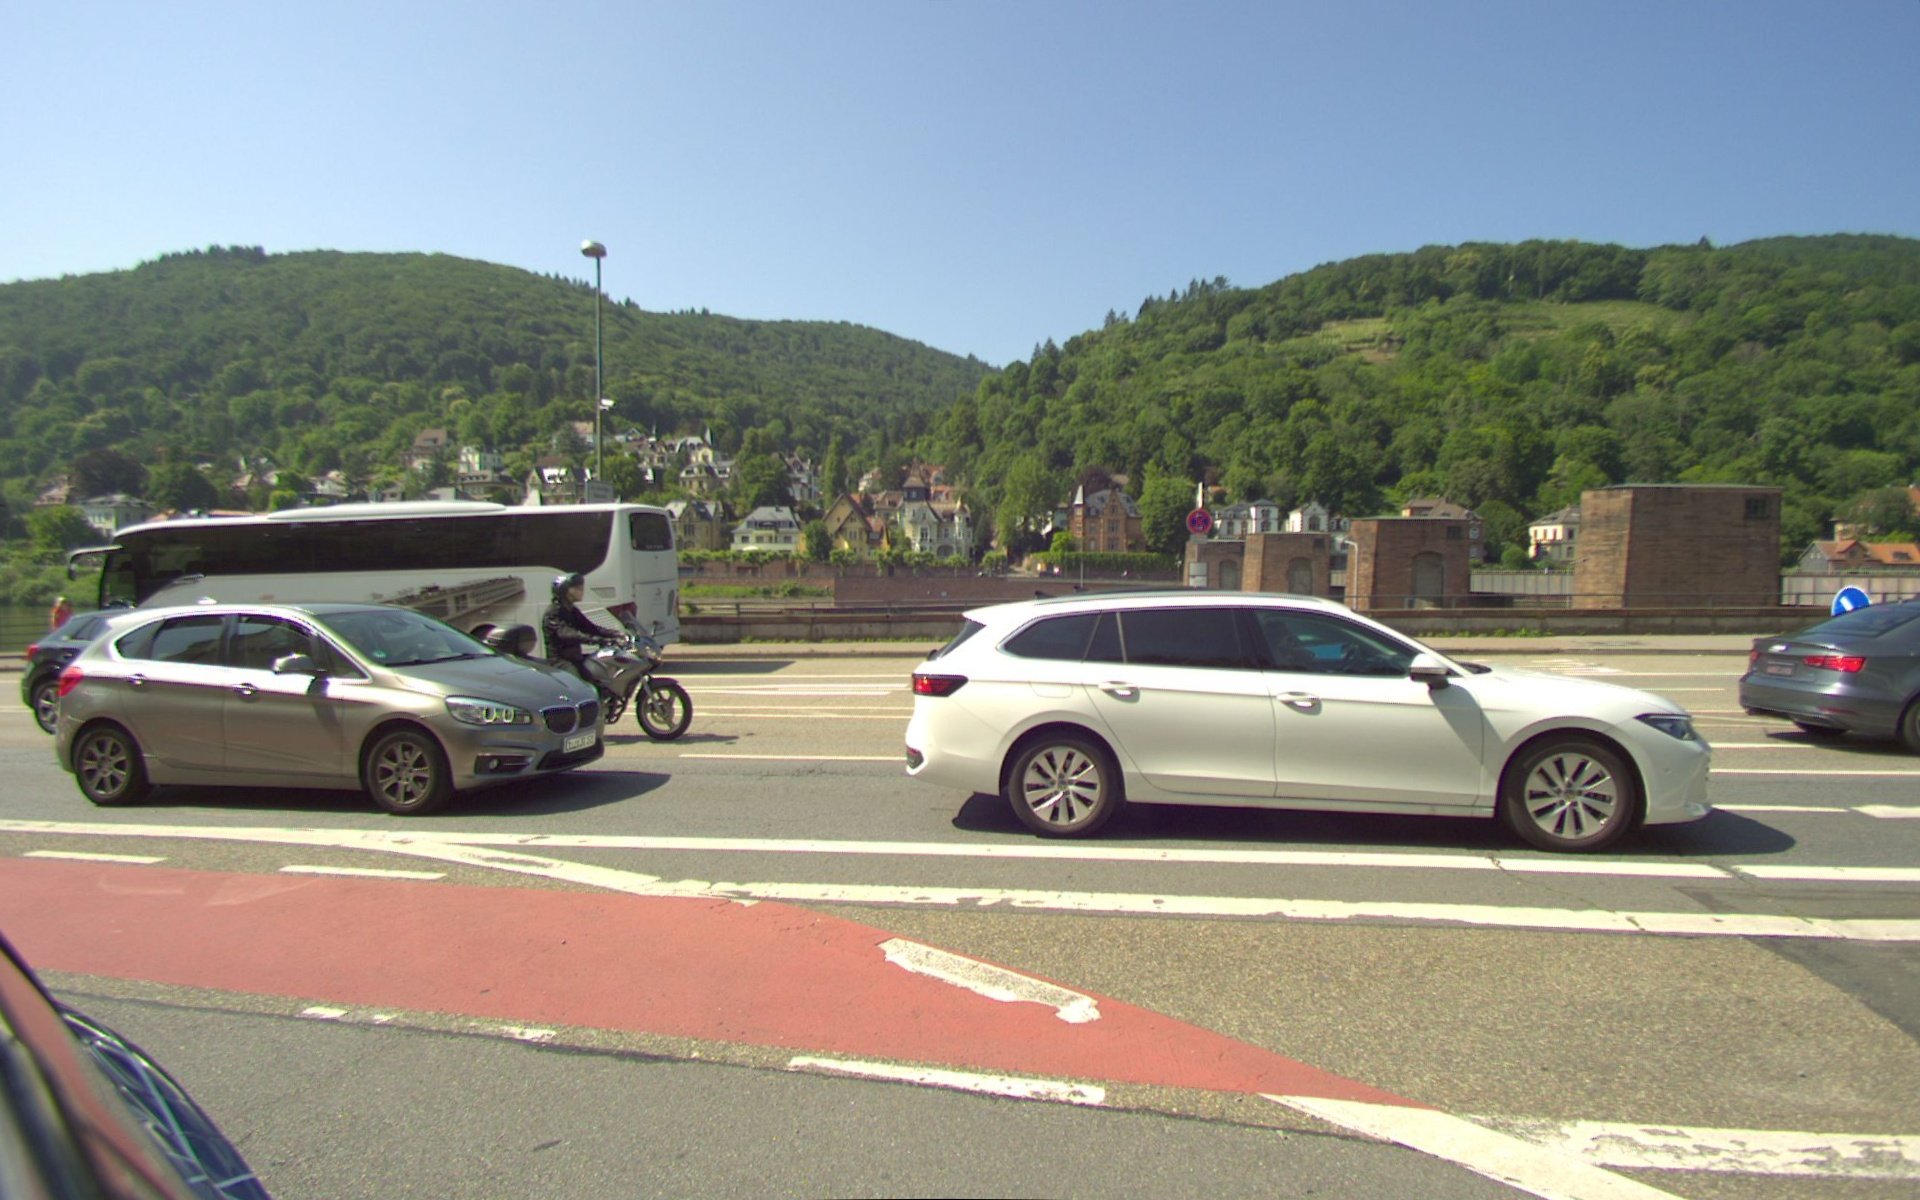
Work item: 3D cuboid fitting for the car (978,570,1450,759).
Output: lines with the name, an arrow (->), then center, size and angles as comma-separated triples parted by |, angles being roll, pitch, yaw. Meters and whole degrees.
car -> 2.275, 0.582, 9.713 | 3.956, 1.574, 1.867 | -1, 0, 10

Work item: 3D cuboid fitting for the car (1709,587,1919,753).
car -> 9.493, 0.559, 9.101 | 3.956, 1.369, 1.867 | -1, 0, 10

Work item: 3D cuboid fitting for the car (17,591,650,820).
car -> -4.929, 0.726, 8.194 | 4.261, 1.532, 1.887 | -1, 0, 12

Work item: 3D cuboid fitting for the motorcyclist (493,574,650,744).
motorcyclist -> -4.103, 0.599, 10.759 | 1.144, 1.697, 1.075 | -1, 0, 12

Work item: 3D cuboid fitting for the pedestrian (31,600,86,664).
pedestrian -> -23.721, 0.835, 26.640 | 0.806, 1.633, 0.704 | -1, 1, 3

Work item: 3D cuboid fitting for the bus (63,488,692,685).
bus -> -12.951, -0.284, 22.866 | 13.087, 3.828, 2.960 | -1, 3, 8

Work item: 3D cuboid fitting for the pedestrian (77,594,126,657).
pedestrian -> -23.823, 0.694, 28.096 | 0.761, 1.722, 0.686 | -1, 1, -6

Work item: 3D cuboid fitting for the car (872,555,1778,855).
car -> 2.016, 0.593, 6.673 | 4.807, 1.545, 1.993 | -1, 0, 11

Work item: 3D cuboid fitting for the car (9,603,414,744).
car -> -9.198, 0.828, 12.545 | 4.110, 1.525, 1.867 | 0, 0, 14

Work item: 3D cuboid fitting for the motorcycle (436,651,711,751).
motorcycle -> -4.059, 1.047, 10.717 | 2.578, 0.926, 1.037 | -1, 0, 12
